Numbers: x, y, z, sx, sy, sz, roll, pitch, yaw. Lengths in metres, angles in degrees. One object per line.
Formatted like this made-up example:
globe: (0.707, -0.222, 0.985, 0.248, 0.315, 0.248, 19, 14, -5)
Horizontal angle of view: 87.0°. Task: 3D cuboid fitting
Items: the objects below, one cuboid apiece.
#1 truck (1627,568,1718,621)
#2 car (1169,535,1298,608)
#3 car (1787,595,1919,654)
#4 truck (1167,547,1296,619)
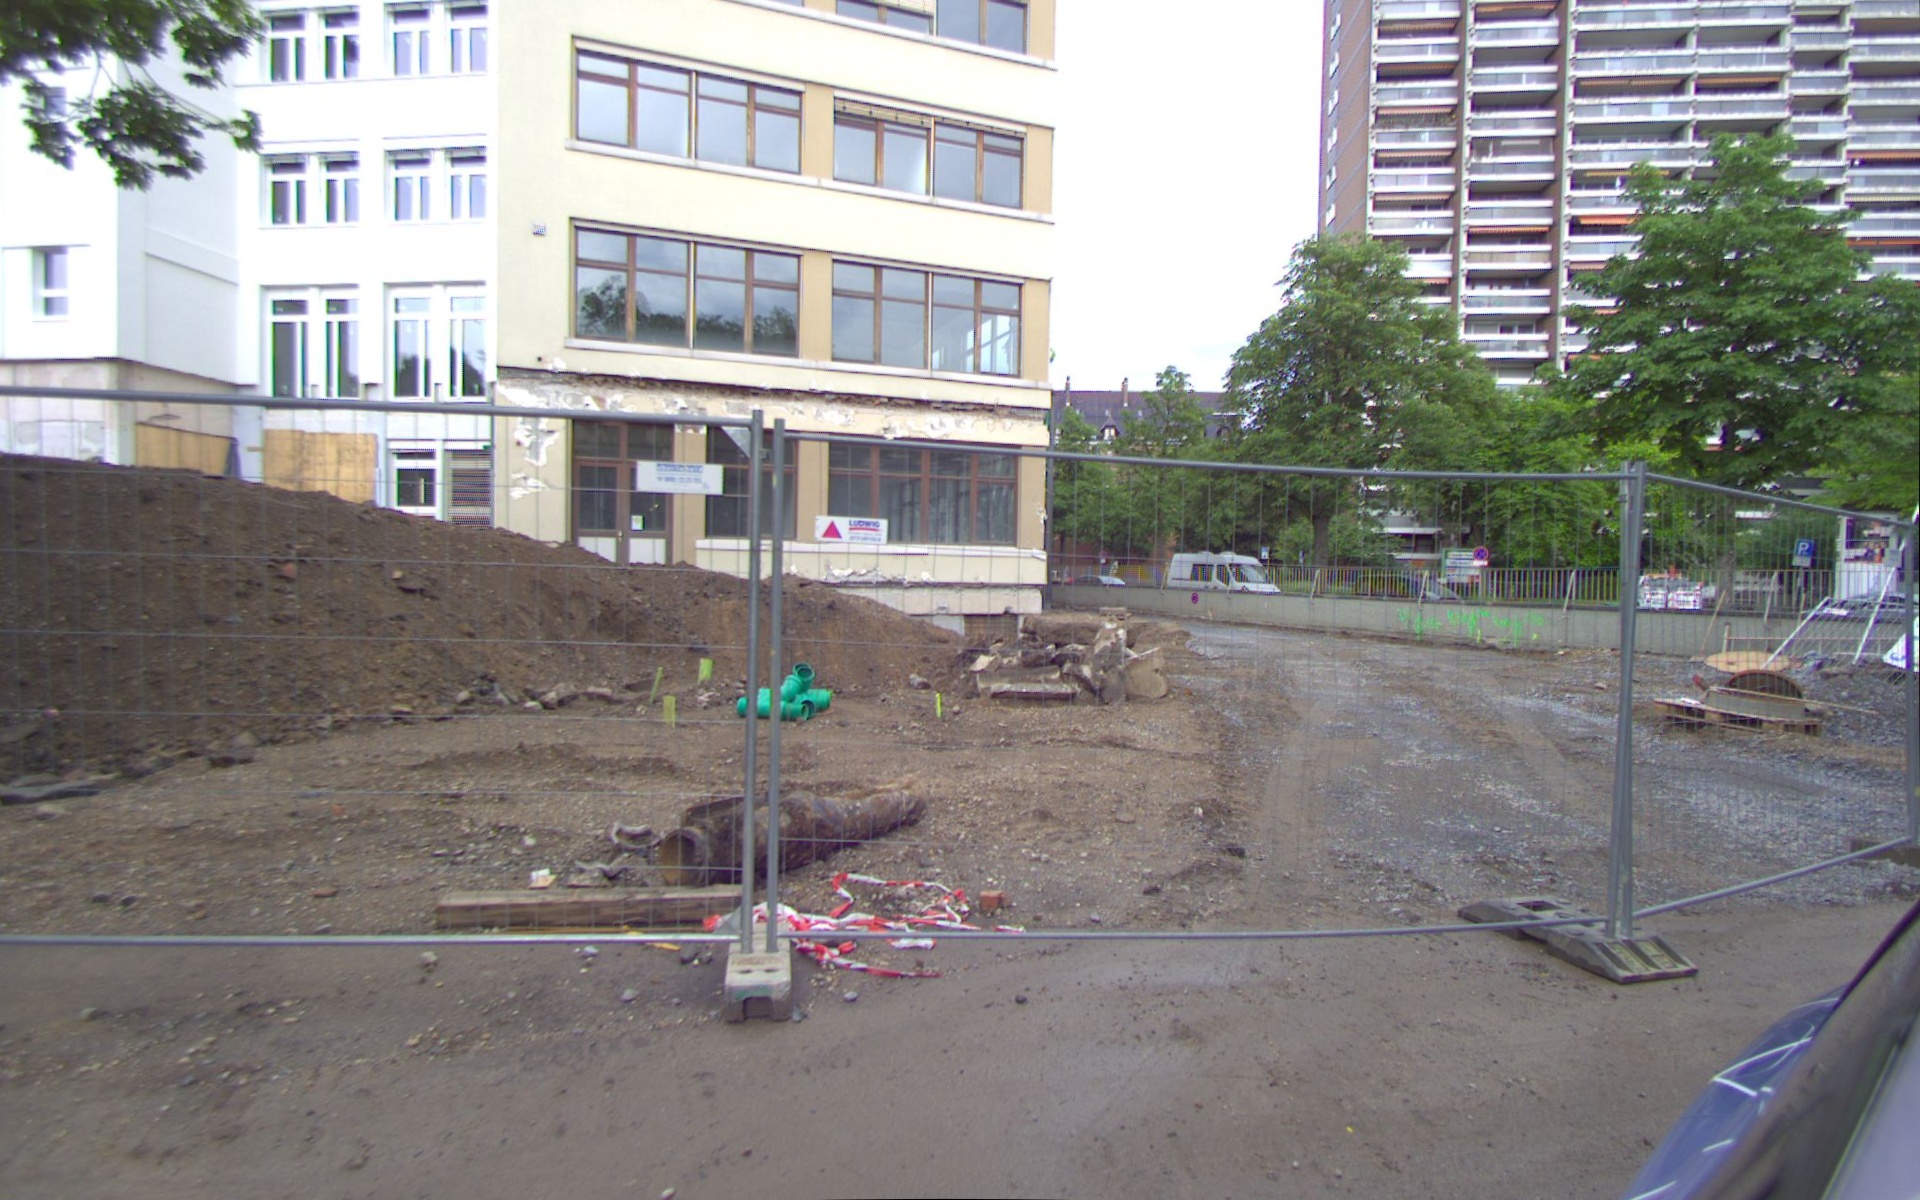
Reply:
truck: (27.610, -0.277, 39.401, 1.979, 1.871, 5.023, 1, 2, 25)
car: (10.631, -1.149, 39.821, 2.075, 2.634, 5.505, 0, 2, -20)
car: (25.385, 0.647, 27.619, 1.709, 1.446, 4.009, 1, 2, -21)
truck: (10.546, -0.714, 39.851, 2.075, 2.634, 5.505, 0, 2, -20)
